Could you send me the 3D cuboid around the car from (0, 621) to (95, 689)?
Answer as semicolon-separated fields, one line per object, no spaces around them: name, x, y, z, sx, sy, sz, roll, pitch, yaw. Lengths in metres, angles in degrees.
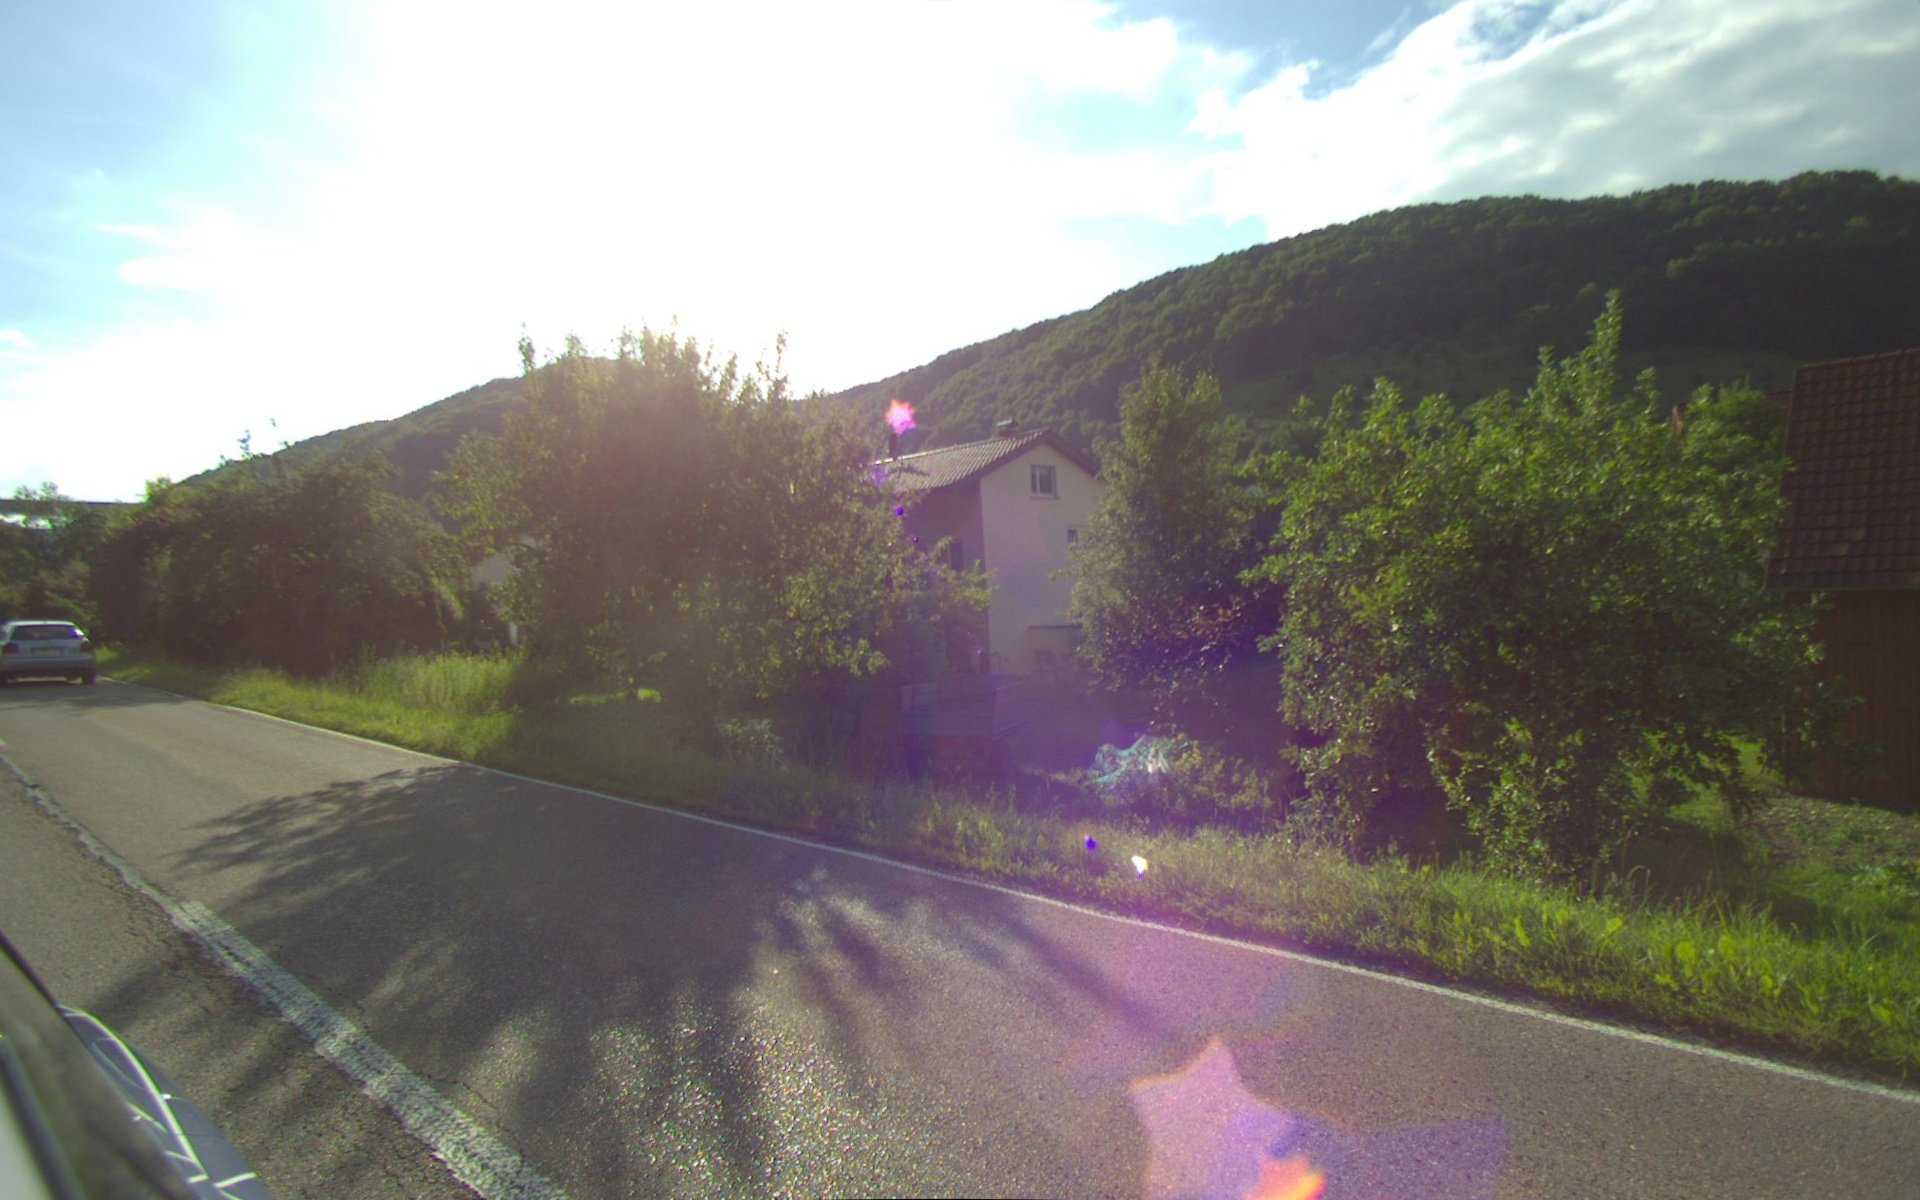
car;-20.909;1.182;22.852;3.663;1.420;1.674;-1;-1;43
